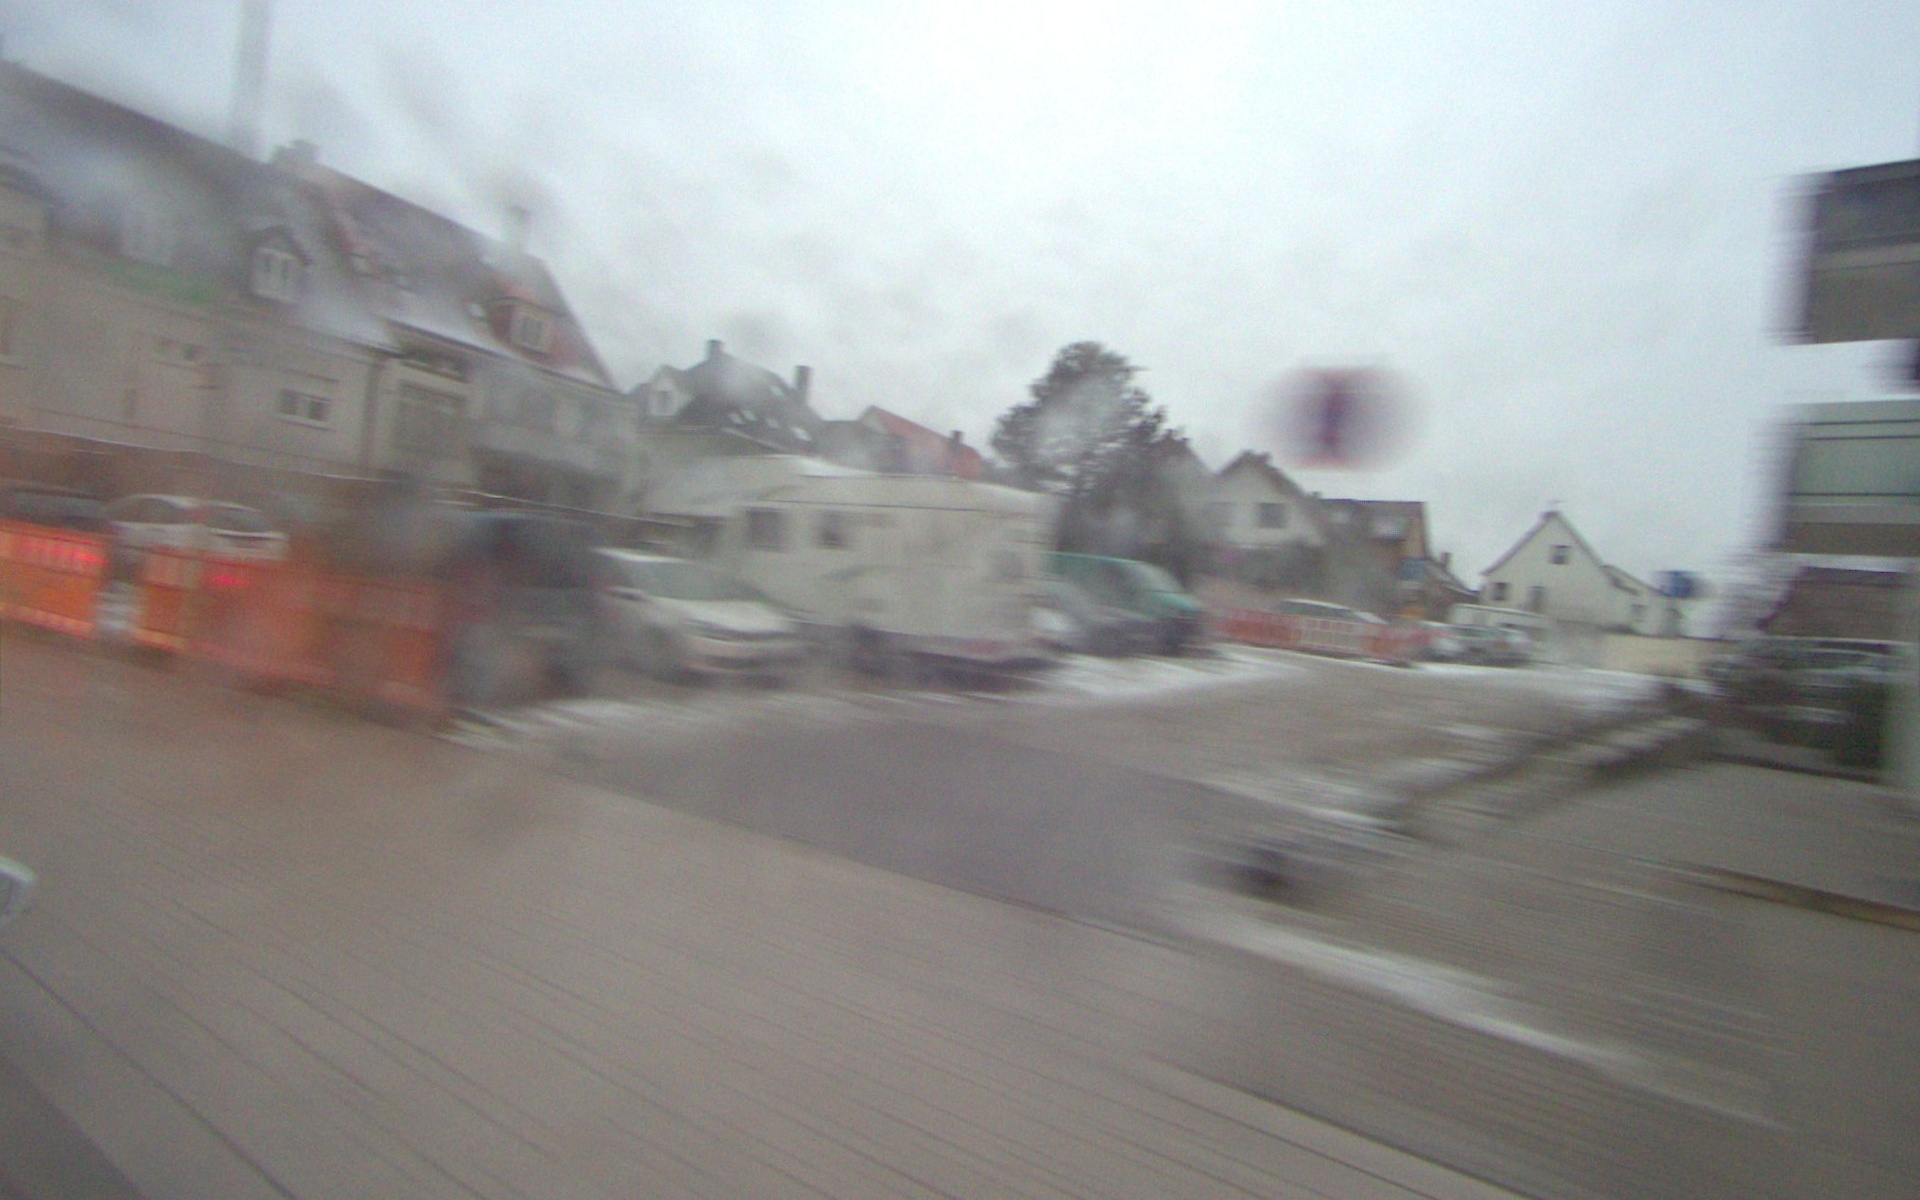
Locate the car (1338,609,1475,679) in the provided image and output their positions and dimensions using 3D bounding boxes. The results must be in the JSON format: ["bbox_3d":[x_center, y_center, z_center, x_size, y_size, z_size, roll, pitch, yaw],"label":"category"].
[{"bbox_3d":[16.138,1.587,36.485,3.946,2.040,1.988,7,2,43],"label":"car"}]

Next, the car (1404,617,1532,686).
[{"bbox_3d":[18.898,1.875,37.424,3.934,2.040,1.994,6,2,32],"label":"car"}]

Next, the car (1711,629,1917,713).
[{"bbox_3d":[26.692,2.202,31.614,4.666,1.980,1.991,6,-1,42],"label":"car"}]

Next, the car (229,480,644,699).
[{"bbox_3d":[-5.660,-0.189,10.736,4.279,1.788,1.994,6,2,33],"label":"car"}]

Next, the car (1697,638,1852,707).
[{"bbox_3d":[28.153,2.487,34.842,3.945,1.794,1.991,6,-2,42],"label":"car"}]

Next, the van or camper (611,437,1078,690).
[{"bbox_3d":[-1.872,-0.691,15.525,6.615,3.090,2.653,6,3,26],"label":"van or camper"}]

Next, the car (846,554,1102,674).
[{"bbox_3d":[0.199,0.142,17.144,3.933,1.577,1.786,6,6,31],"label":"car"}]

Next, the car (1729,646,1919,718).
[{"bbox_3d":[24.929,2.348,29.162,3.945,1.502,1.991,6,-2,42],"label":"car"}]

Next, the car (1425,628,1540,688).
[{"bbox_3d":[22.037,2.419,42.501,3.937,2.040,1.993,7,2,35],"label":"car"}]

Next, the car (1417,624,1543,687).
[{"bbox_3d":[20.902,2.214,40.513,3.946,2.040,1.988,7,2,43],"label":"car"}]

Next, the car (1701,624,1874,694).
[{"bbox_3d":[33.941,2.413,41.493,5.164,2.214,1.995,6,-1,35],"label":"car"}]

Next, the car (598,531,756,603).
[{"bbox_3d":[-7.499,-0.879,26.570,3.862,1.481,1.886,7,2,34],"label":"car"}]

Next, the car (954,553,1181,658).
[{"bbox_3d":[2.087,0.054,19.971,3.939,1.629,1.990,7,4,37],"label":"car"}]

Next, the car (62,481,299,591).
[{"bbox_3d":[-13.519,-1.100,17.455,3.568,1.481,1.724,7,2,24],"label":"car"}]

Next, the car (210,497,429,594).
[{"bbox_3d":[-12.946,-1.113,20.264,4.471,1.481,1.824,7,2,30],"label":"car"}]

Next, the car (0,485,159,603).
[{"bbox_3d":[-14.076,-0.935,14.867,3.566,1.480,1.892,7,0,22],"label":"car"}]

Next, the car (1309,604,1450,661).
[{"bbox_3d":[14.249,1.083,34.298,3.946,1.471,1.761,7,2,43],"label":"car"}]

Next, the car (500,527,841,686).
[{"bbox_3d":[-3.775,0.031,12.898,4.109,1.631,1.993,5,1,35],"label":"car"}]

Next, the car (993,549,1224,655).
[{"bbox_3d":[3.226,-0.010,22.487,4.729,1.910,1.774,6,3,38],"label":"car"}]

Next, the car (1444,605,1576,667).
[{"bbox_3d":[26.181,1.684,47.981,5.190,2.275,1.995,6,-1,35],"label":"car"}]
